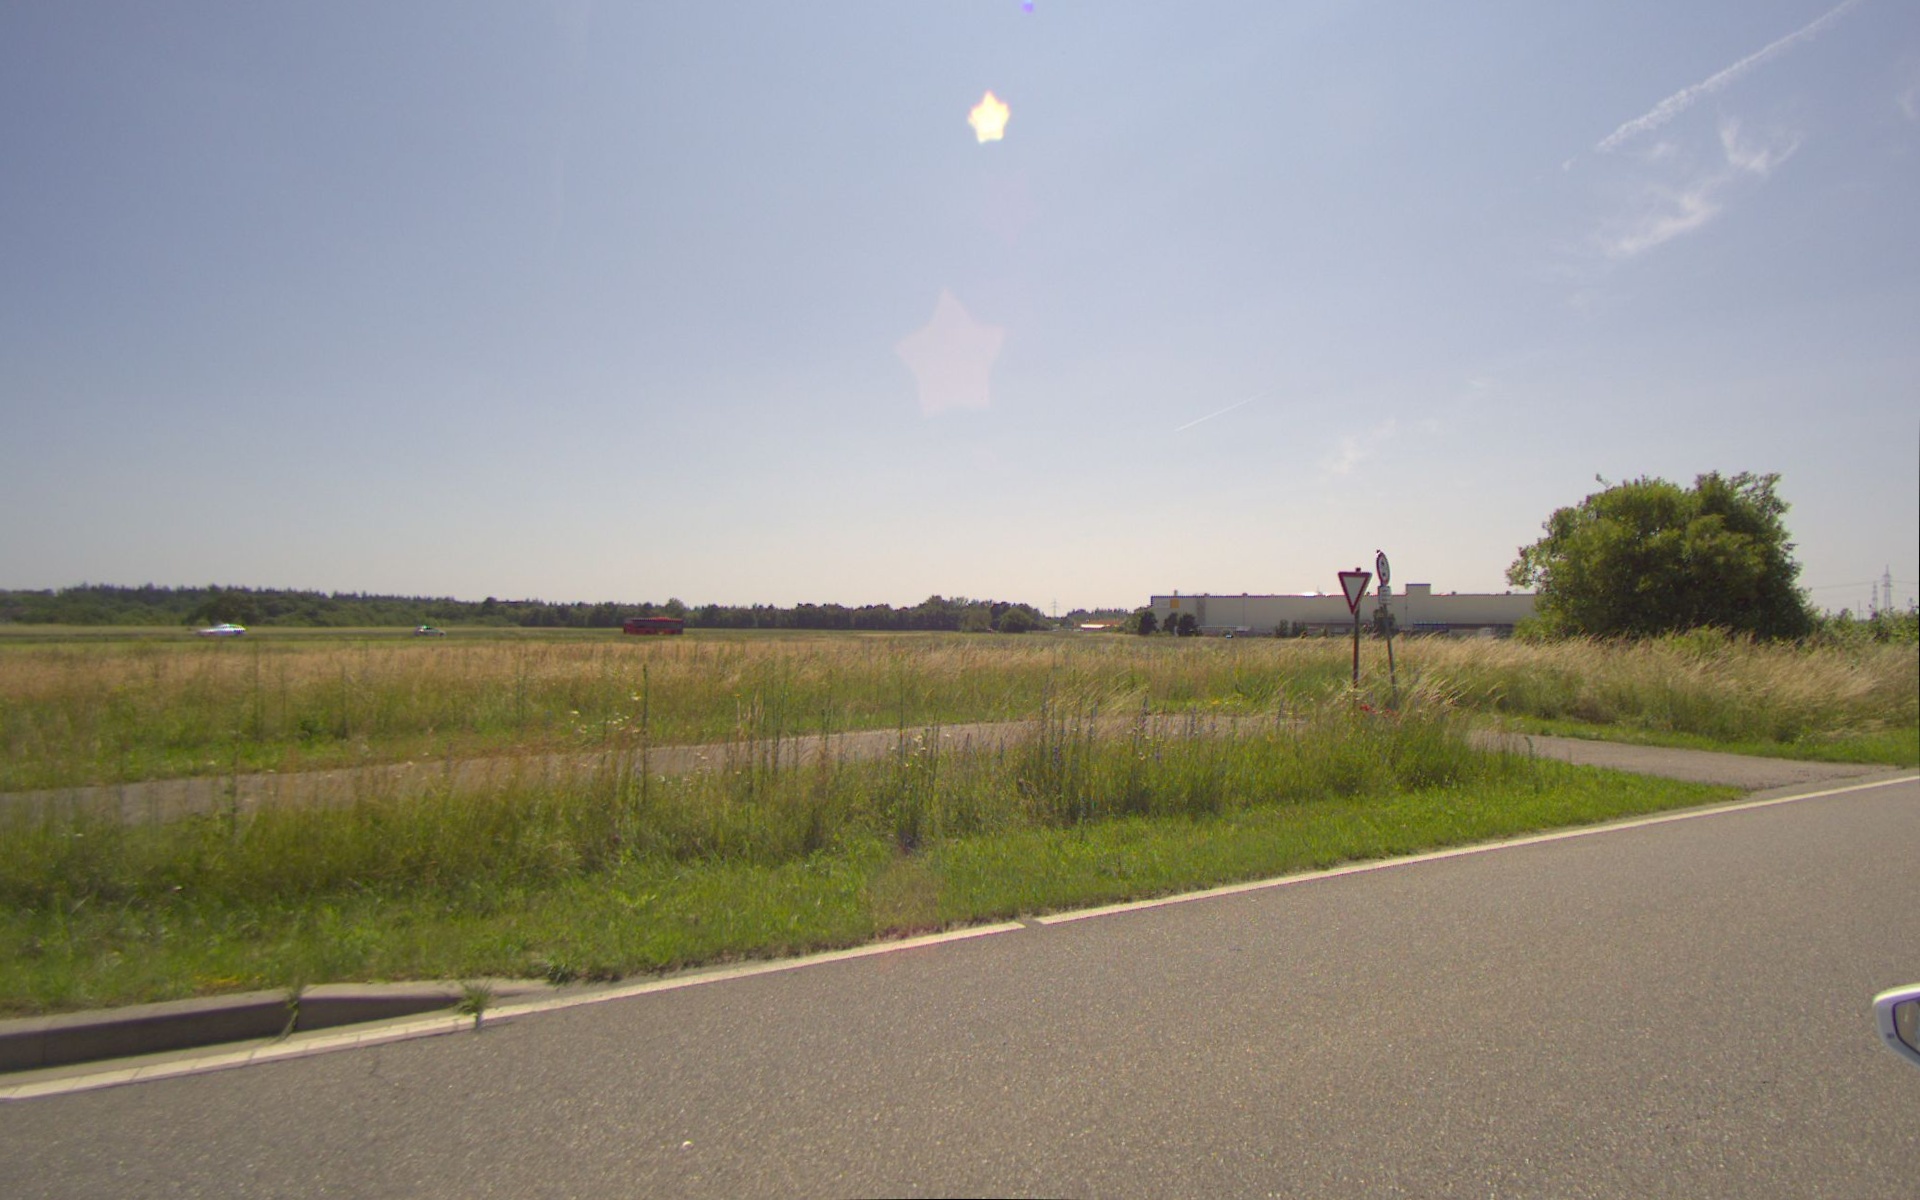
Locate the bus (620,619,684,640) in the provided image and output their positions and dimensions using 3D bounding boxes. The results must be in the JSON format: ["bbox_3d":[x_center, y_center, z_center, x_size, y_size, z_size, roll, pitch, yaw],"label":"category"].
[{"bbox_3d":[-52.976,5.106,173.138,3.252,3.352,11.979,0,-2,26],"label":"bus"}]

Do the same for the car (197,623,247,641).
[{"bbox_3d":[-85.448,3.715,116.345,1.964,2.040,4.222,0,-2,30],"label":"car"}]

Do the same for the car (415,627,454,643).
[{"bbox_3d":[-70.935,4.697,135.653,1.963,2.040,4.226,0,-2,26],"label":"car"}]
